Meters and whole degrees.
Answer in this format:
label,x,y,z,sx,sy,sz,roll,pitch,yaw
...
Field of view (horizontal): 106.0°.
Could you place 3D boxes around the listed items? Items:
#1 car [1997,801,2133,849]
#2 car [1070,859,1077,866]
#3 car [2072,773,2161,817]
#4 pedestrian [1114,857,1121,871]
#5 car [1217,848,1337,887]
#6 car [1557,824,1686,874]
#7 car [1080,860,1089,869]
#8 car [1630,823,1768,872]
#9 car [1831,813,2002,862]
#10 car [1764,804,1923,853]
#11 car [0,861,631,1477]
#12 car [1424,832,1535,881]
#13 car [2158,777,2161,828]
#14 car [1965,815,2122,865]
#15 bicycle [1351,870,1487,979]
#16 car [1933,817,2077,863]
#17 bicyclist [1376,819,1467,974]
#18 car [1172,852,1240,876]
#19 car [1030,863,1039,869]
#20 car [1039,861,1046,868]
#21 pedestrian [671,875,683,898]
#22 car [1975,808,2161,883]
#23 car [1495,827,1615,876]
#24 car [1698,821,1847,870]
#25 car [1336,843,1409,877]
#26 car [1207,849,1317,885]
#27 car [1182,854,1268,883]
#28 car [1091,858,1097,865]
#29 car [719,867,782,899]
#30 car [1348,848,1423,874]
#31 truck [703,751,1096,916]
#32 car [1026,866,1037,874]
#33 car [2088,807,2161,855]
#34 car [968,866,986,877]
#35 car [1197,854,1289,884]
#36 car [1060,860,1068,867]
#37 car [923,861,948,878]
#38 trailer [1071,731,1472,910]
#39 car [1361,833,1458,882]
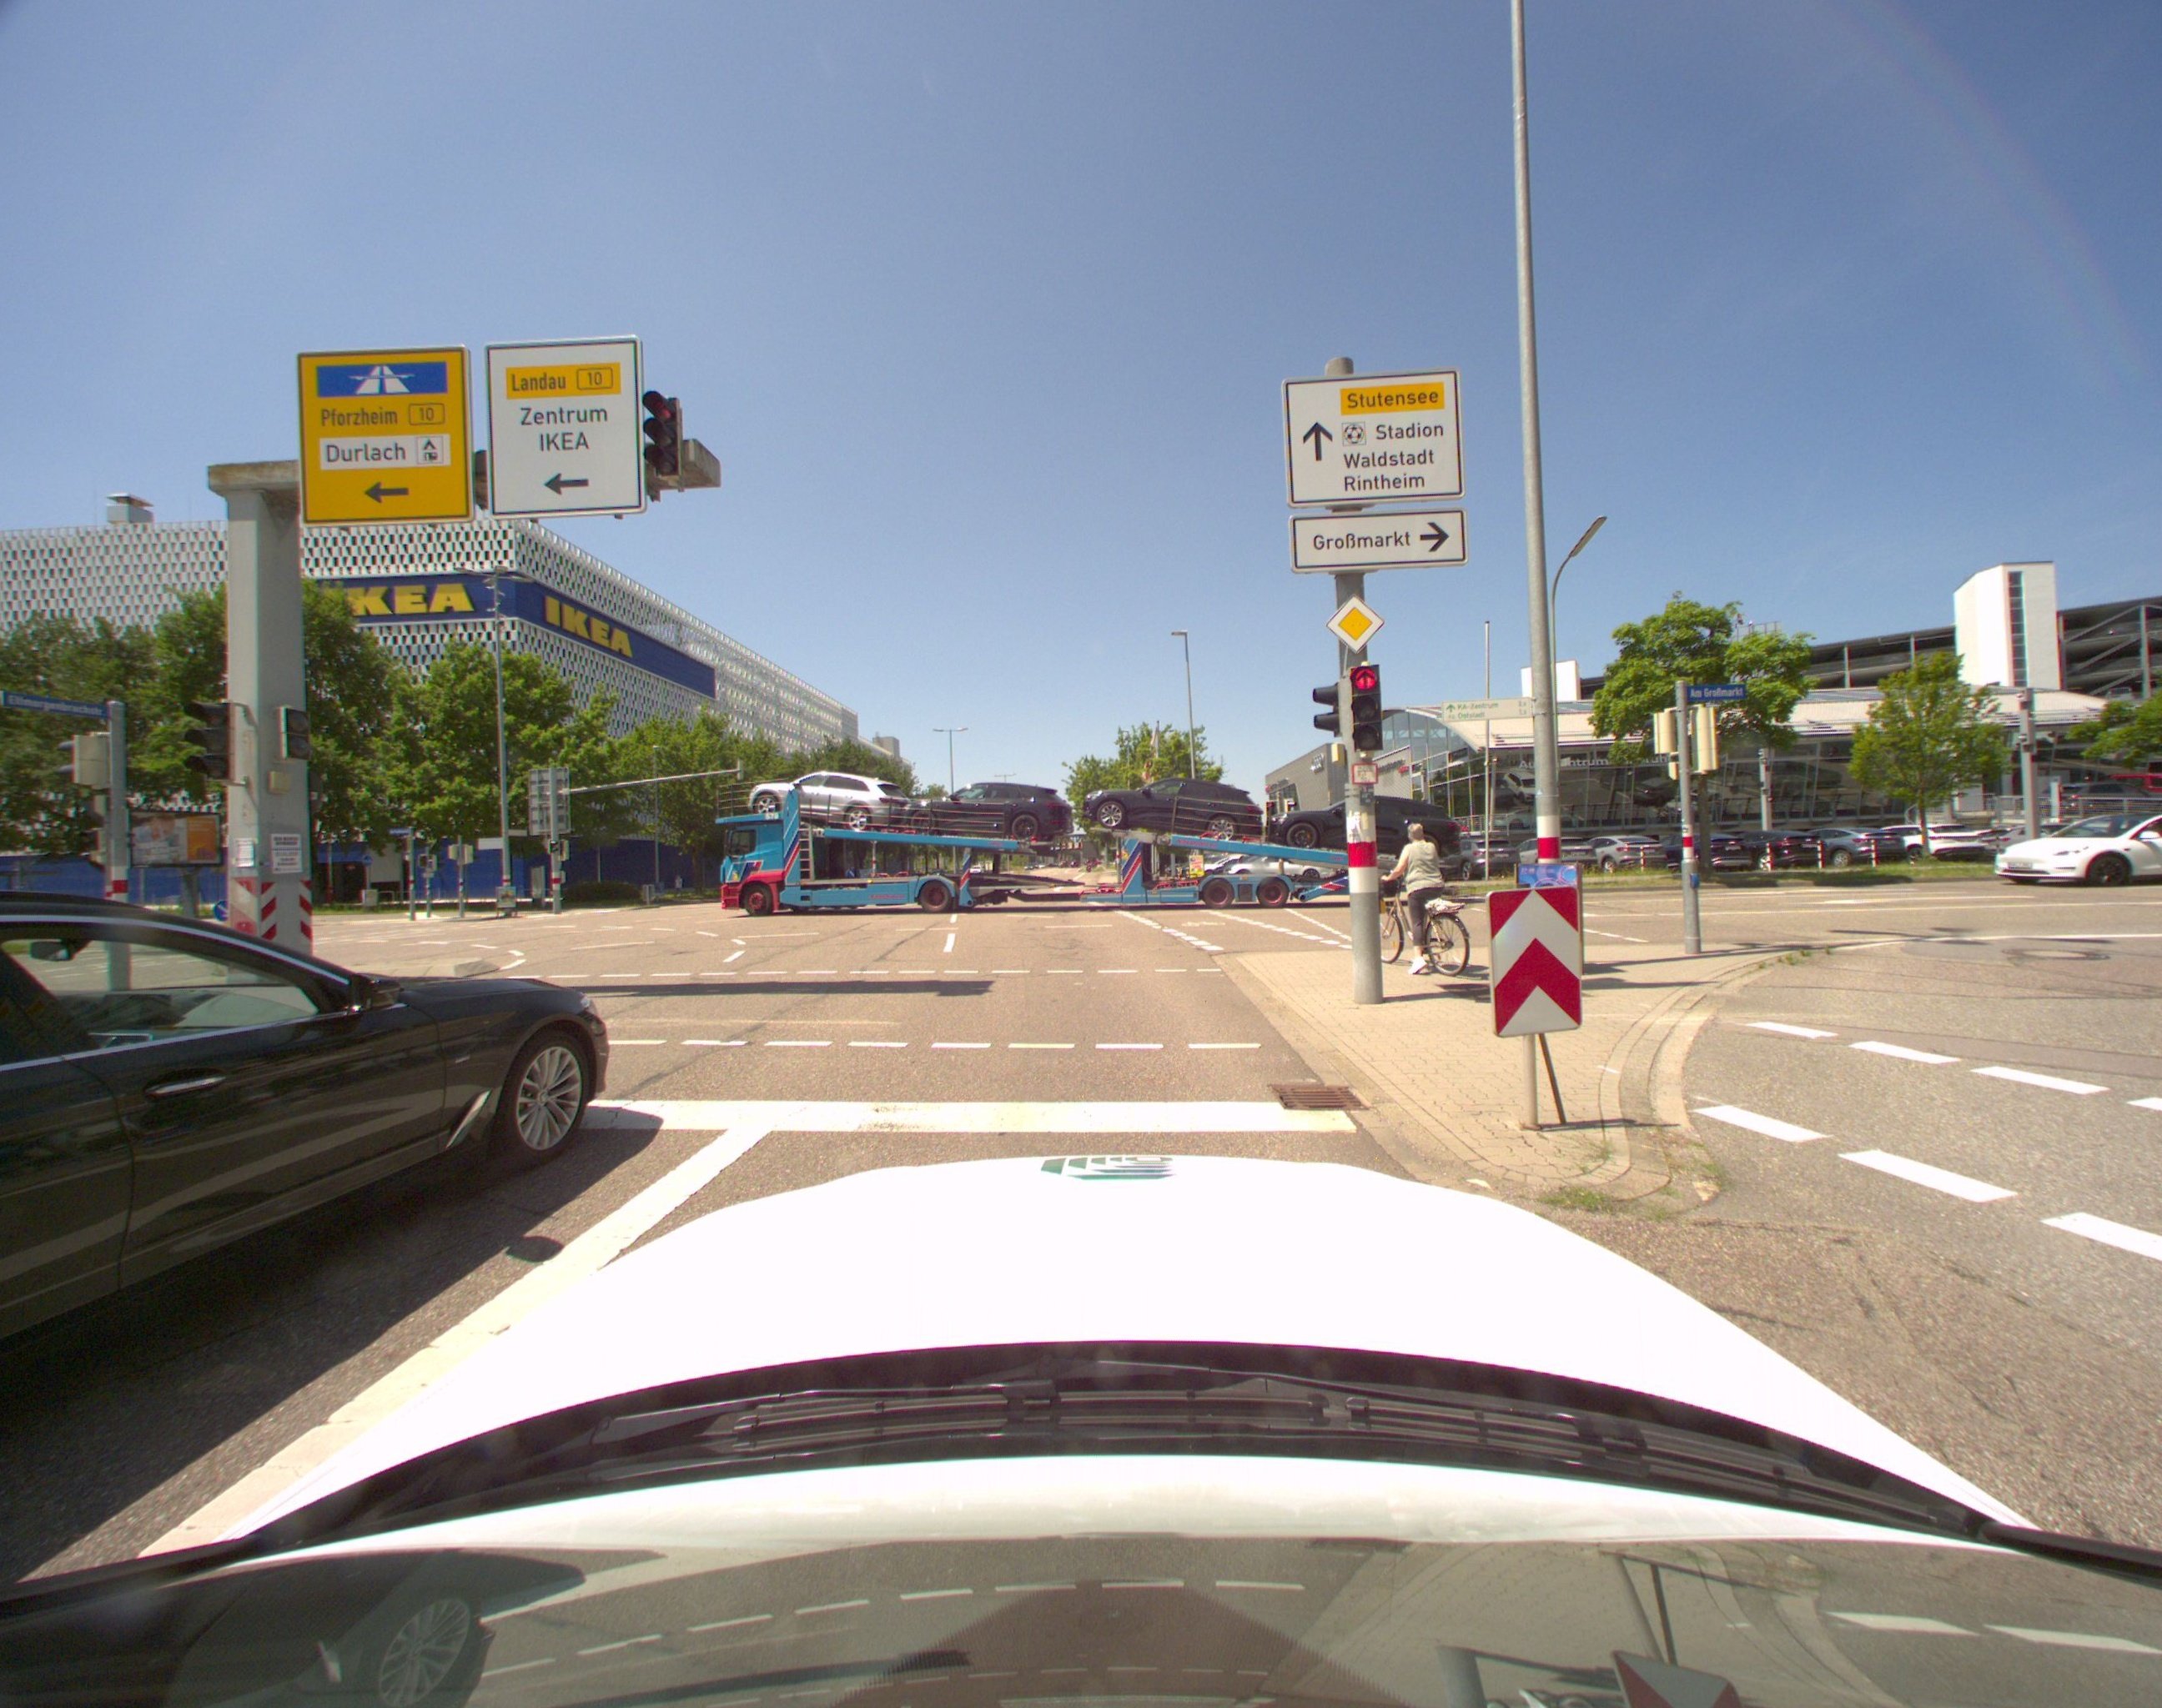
label,x,y,z,sx,sy,sz,roll,pitch,yaw
car,46.247,-1.340,38.372,3.728,2.013,1.866,-2,0,10
car,-2.034,2.319,222.439,1.765,1.728,4.001,-3,-1,1
car,54.886,-3.078,42.238,1.990,2.013,3.994,-2,0,-4
pedestrian,3.974,1.064,89.517,0.665,1.510,0.736,-2,-1,1
car,8.373,0.579,35.118,4.721,1.457,2.002,-2,0,3
car,20.195,-0.193,30.695,1.878,1.639,4.526,-3,0,1
car,0.485,1.375,107.338,1.133,1.042,2.309,-2,0,1
car,23.019,-0.237,30.586,1.821,1.639,4.476,-3,0,1
car,31.066,-0.592,30.510,1.821,1.639,4.476,-3,0,1
car,28.388,-0.906,30.560,1.821,1.639,4.476,-3,0,1
car,-3.520,0.790,2.361,1.794,1.466,4.623,-1,0,1
car,14.953,0.083,30.864,1.986,1.639,4.559,-2,0,1
car,45.344,-2.155,31.308,5.109,2.013,2.001,-2,0,1
car,38.766,-0.537,32.945,3.665,1.777,1.759,-2,-1,28
bicycle,4.044,0.797,9.933,0.784,1.127,1.919,-1,0,-2
car,39.967,-0.586,35.351,3.720,1.772,1.781,-3,-1,31
bicyclist,4.020,0.483,9.663,0.732,1.749,0.753,-1,0,-3
car,9.282,0.735,60.753,4.727,1.457,2.000,-3,0,-1
car,-10.680,2.749,187.556,1.678,1.411,3.666,-3,-1,1
car,-10.462,2.777,220.739,1.644,1.653,4.162,-2,0,-1
pedestrian,-26.369,2.139,53.178,0.460,1.482,0.484,-3,-1,5
car,24.082,-0.243,18.685,4.655,1.588,2.004,-2,1,7
car,17.710,-0.101,30.735,1.986,1.639,4.442,-3,0,1
car,25.758,-0.296,30.564,1.821,1.639,4.475,-2,0,1
car,19.021,0.368,53.281,3.971,2.013,2.001,-2,0,2
car,8.343,0.621,37.874,4.721,1.457,2.002,-2,-1,3
car,8.497,0.841,48.453,4.727,1.457,2.000,-2,0,-1
car,3.561,2.044,222.692,1.765,1.728,4.001,-3,-1,1
car,-23.387,2.026,57.774,1.983,2.008,4.773,-3,-1,7
car,19.013,0.398,50.938,4.076,1.460,1.719,-2,0,1
truck,-5.110,-0.454,23.509,10.550,4.083,3.110,-2,-1,11
car,-10.084,3.290,166.698,1.726,1.427,3.707,-4,-1,1
car,39.617,-0.910,28.774,4.705,1.639,1.844,-3,0,24
car,-16.062,2.699,126.356,1.918,1.665,4.093,-3,-1,4
car,8.993,0.799,45.499,4.727,1.457,2.000,-2,0,-1
car,-4.625,2.672,224.161,1.765,1.728,4.001,-3,-1,1
car,-18.294,1.937,102.457,1.984,2.013,4.006,-2,0,5
trailer,4.797,-0.722,21.654,9.550,4.081,3.104,-2,-1,11
car,12.357,0.112,30.924,1.986,1.639,4.270,-2,0,1
